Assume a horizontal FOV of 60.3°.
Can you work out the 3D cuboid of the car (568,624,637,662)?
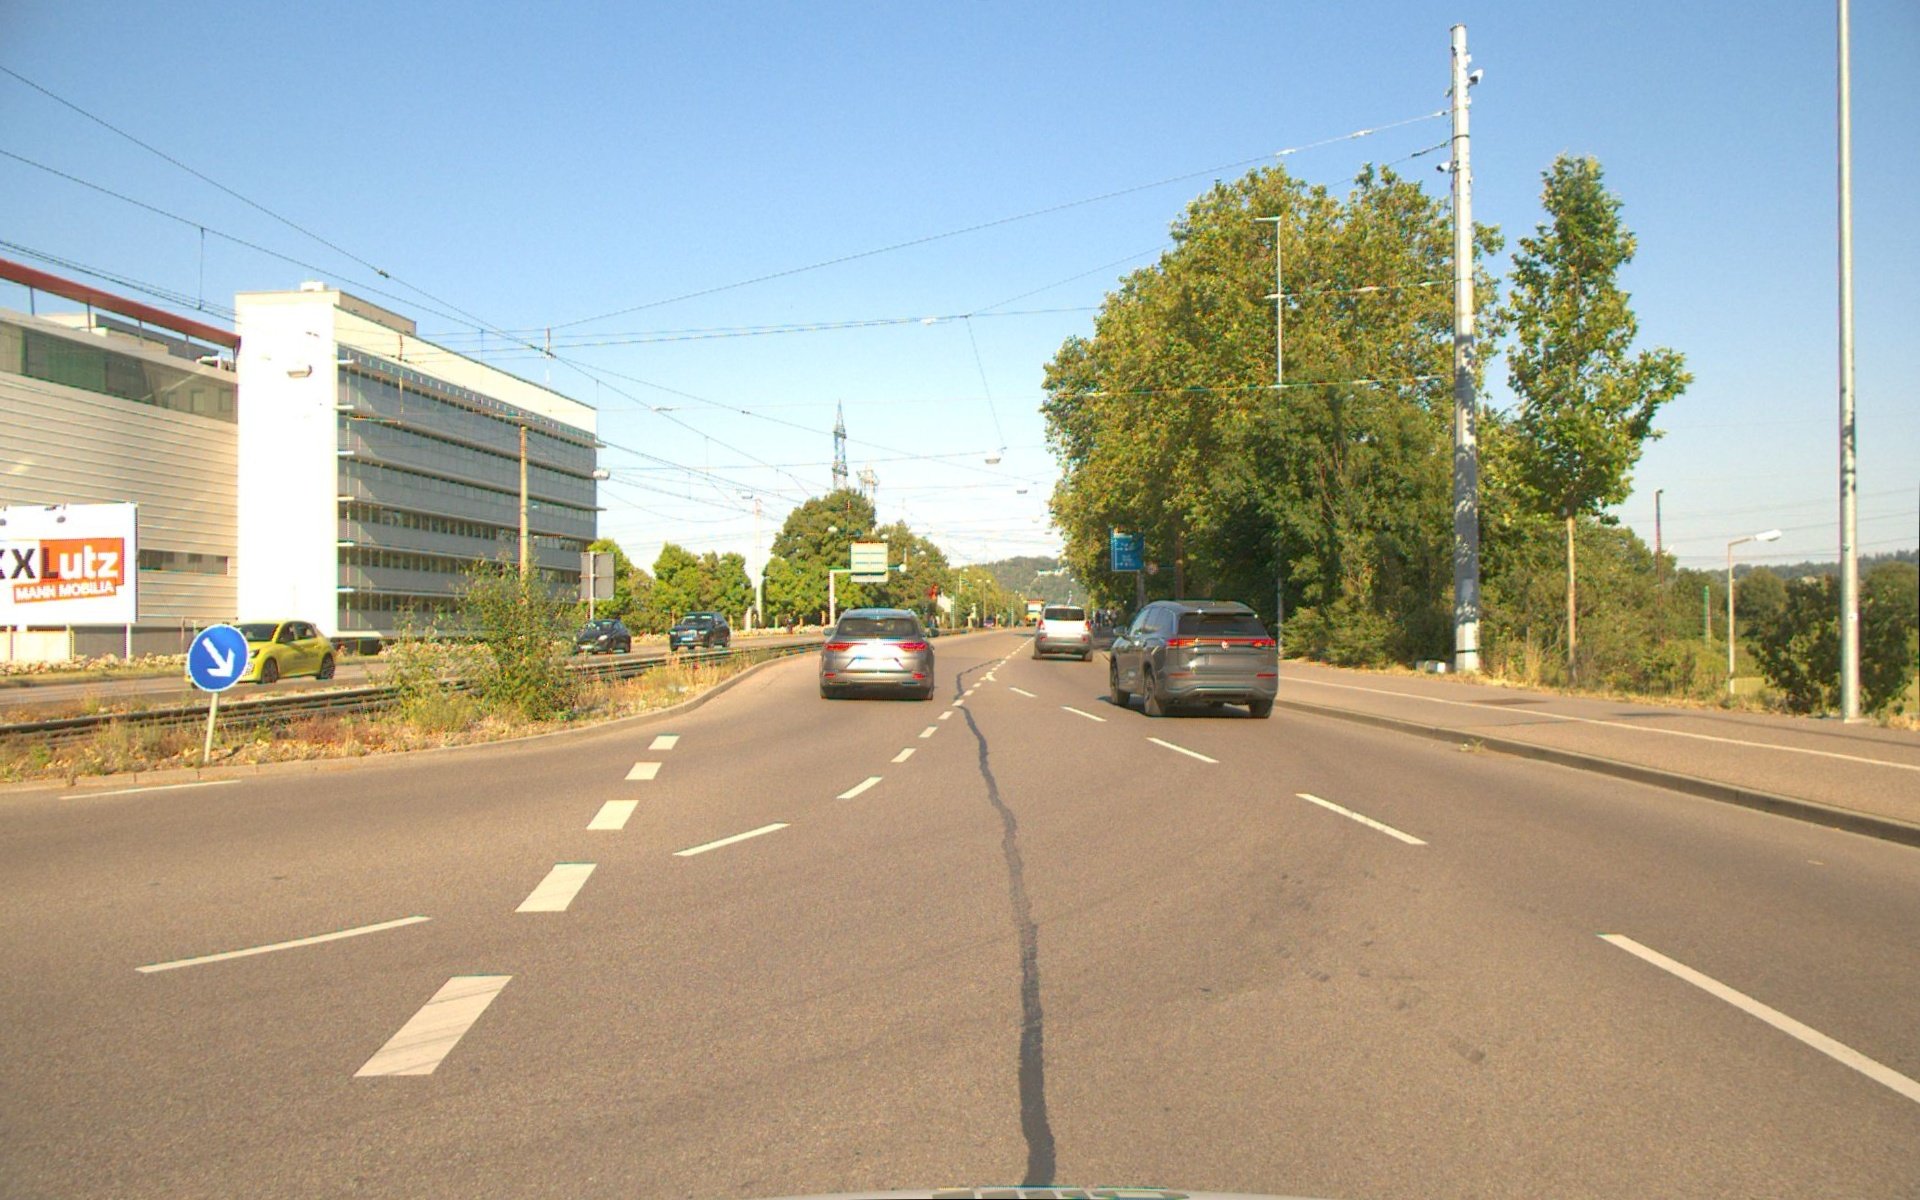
[{"bbox_3d":[-15.166,1.810,70.307,1.818,1.486,4.139,-1,0,3],"label":"car"}]

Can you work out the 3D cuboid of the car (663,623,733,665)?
[{"bbox_3d":[-11.543,1.914,73.184,1.951,1.684,4.661,-1,0,5],"label":"car"}]

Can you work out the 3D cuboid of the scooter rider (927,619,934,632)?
[{"bbox_3d":[-4.357,3.750,244.617,0.667,1.881,1.001,-1,-1,12],"label":"scooter rider"}]

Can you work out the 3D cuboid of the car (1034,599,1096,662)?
[{"bbox_3d":[3.308,0.923,51.953,1.844,1.827,4.002,2,0,4],"label":"car"}]

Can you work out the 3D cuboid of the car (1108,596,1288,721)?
[{"bbox_3d":[3.451,0.805,24.798,1.808,1.690,4.436,1,0,-4],"label":"car"}]

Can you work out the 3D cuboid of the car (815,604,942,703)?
[{"bbox_3d":[-1.283,0.837,27.938,1.827,1.493,4.666,1,0,1],"label":"car"}]

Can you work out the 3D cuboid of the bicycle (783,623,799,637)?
[{"bbox_3d":[-14.680,2.575,143.749,0.647,1.171,2.023,1,0,14],"label":"bicycle"}]

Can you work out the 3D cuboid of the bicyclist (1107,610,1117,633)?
[{"bbox_3d":[10.002,1.423,109.011,0.671,1.535,0.891,0,0,5],"label":"bicyclist"}]

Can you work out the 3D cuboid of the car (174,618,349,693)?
[{"bbox_3d":[-15.272,1.182,36.405,1.746,1.473,4.110,-2,0,5],"label":"car"}]
